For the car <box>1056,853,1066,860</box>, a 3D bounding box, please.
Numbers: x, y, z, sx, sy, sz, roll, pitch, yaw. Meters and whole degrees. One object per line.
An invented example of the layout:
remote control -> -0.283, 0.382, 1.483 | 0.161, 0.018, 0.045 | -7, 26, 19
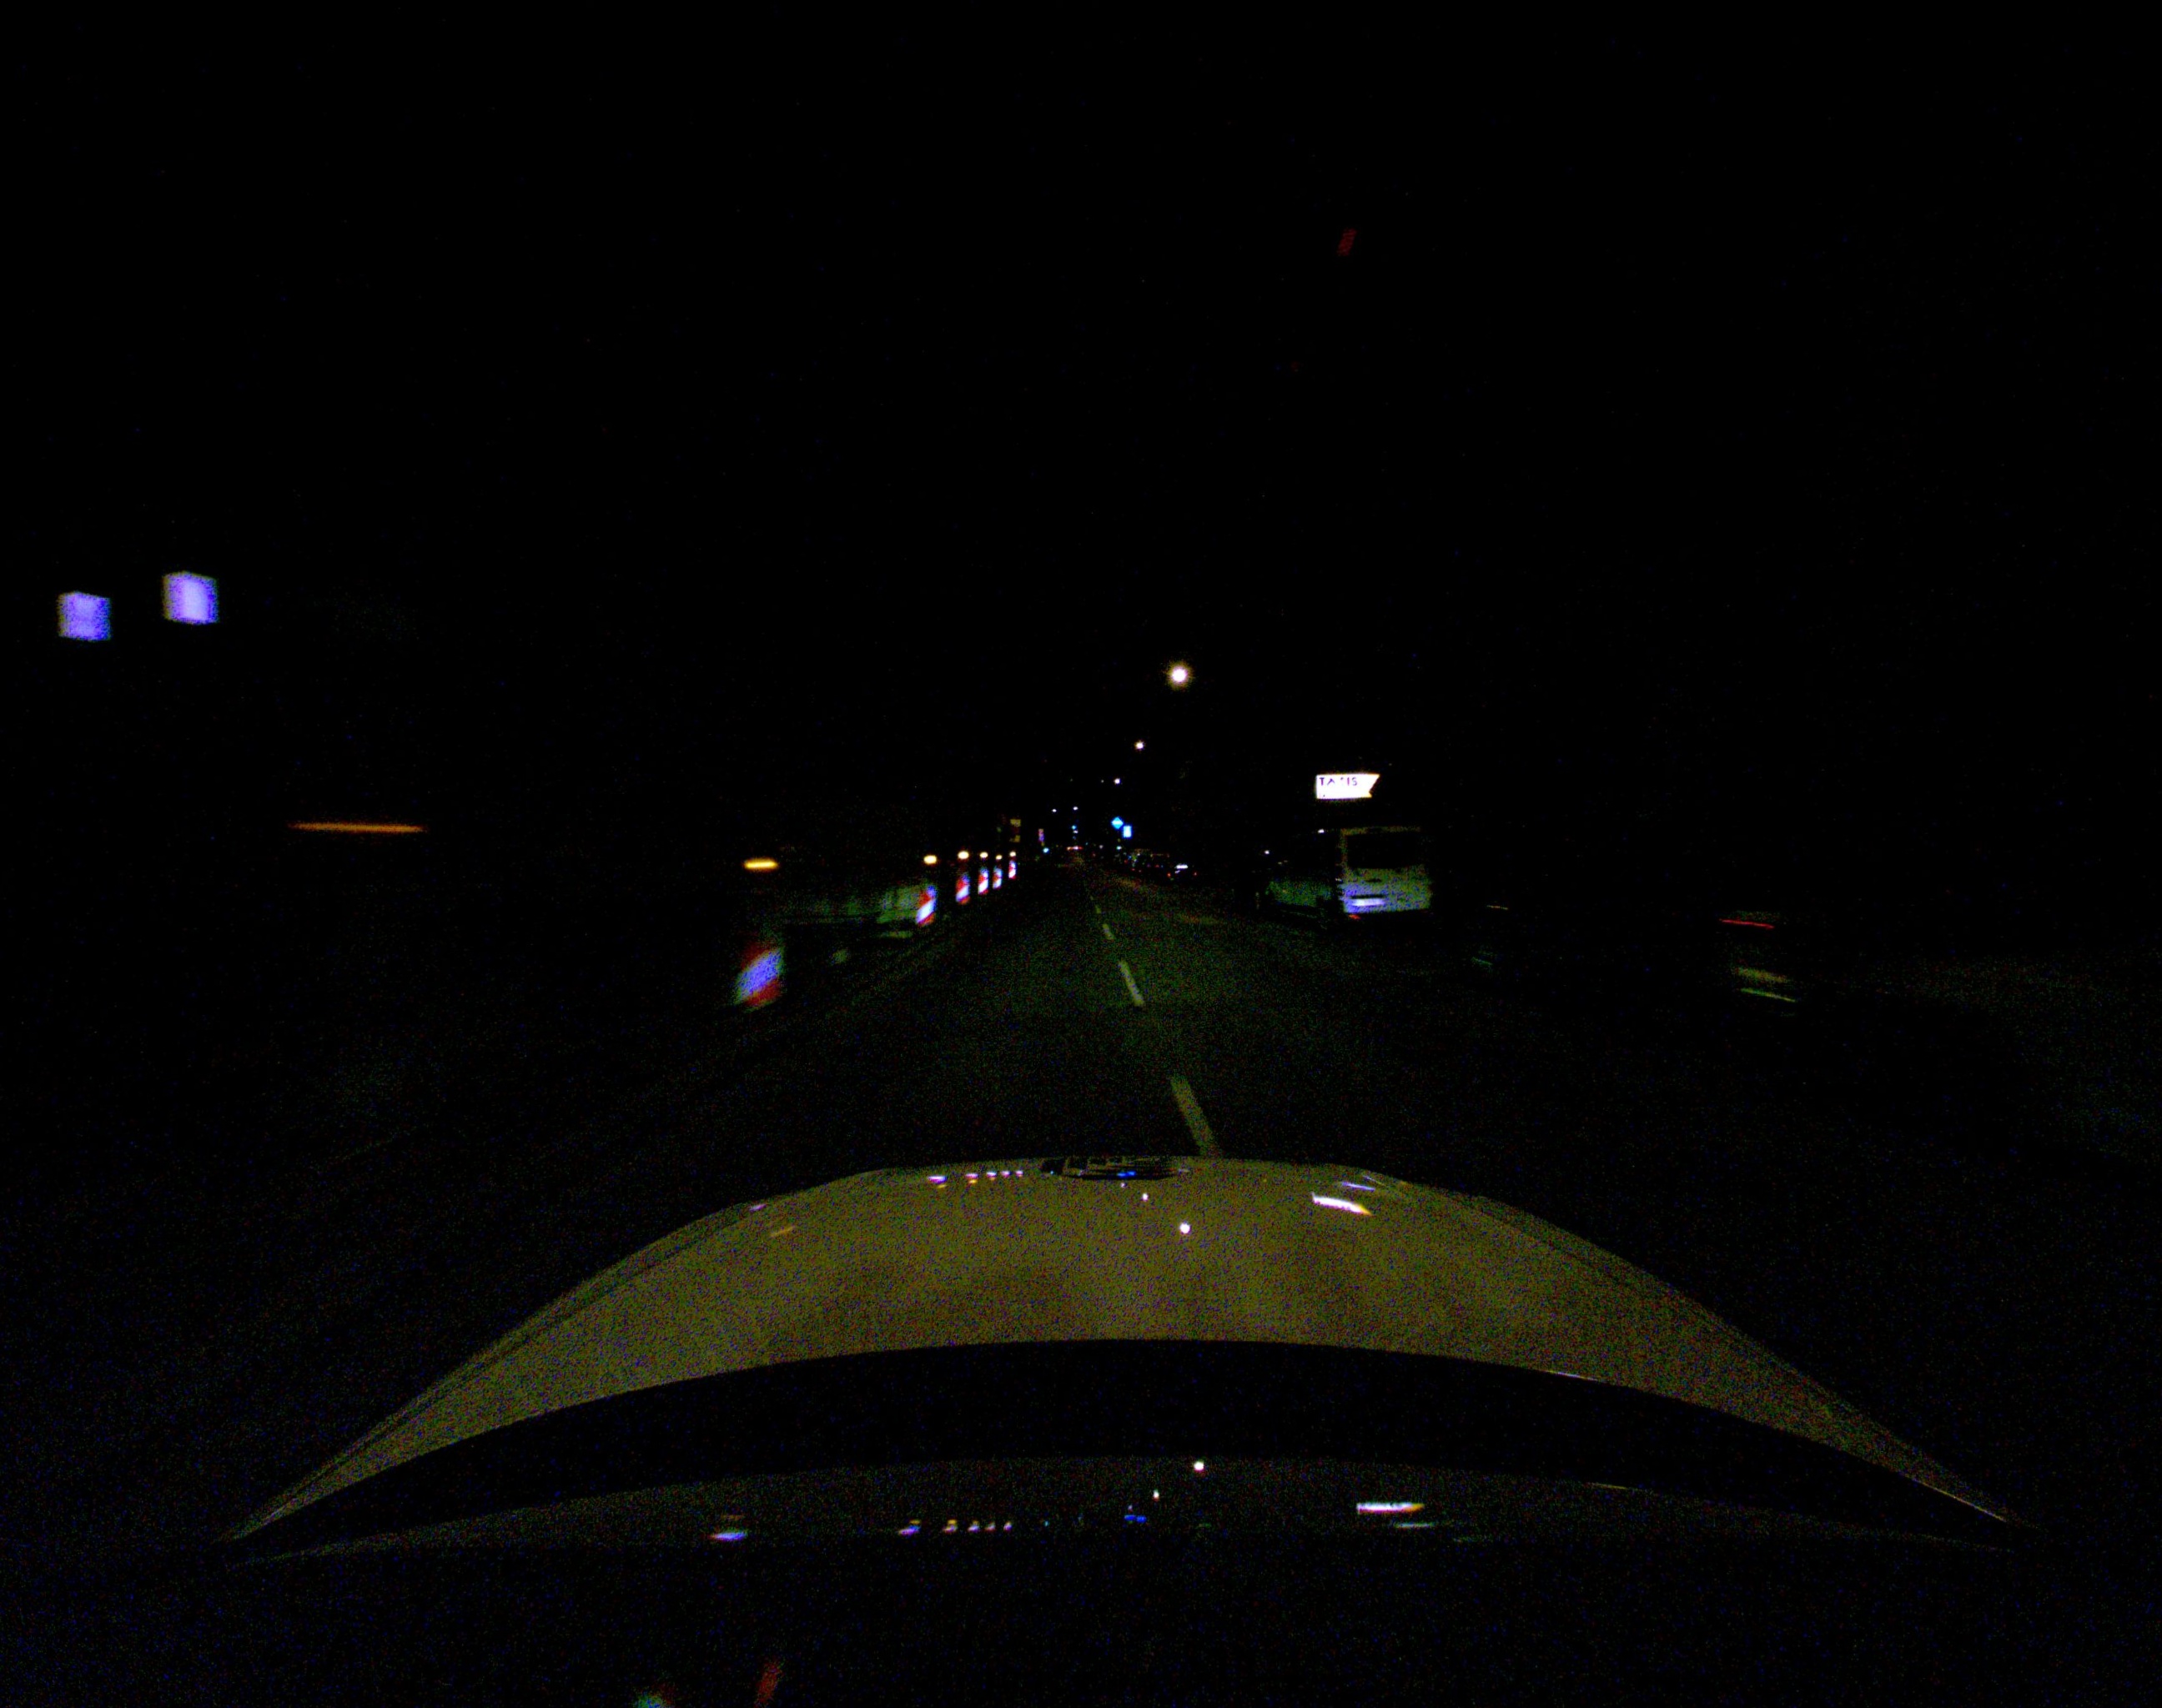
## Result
car -> -4.281, 0.538, 176.429 | 1.987, 1.502, 3.998 | -1, -1, -1

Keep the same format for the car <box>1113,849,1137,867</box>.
car -> 4.213, 0.393, 78.718 | 1.819, 1.623, 4.453 | -2, 0, -3

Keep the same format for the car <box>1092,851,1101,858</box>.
car -> 3.536, 0.224, 182.243 | 1.987, 1.520, 4.000 | -1, -1, 1

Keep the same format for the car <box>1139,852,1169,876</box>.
car -> 4.734, 0.629, 53.169 | 1.590, 1.467, 3.718 | -1, -1, 0

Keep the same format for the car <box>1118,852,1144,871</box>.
car -> 4.147, 0.609, 68.311 | 1.811, 1.427, 4.186 | -2, 0, -1

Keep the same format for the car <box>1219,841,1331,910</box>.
car -> 5.169, 0.554, 22.315 | 1.815, 1.599, 4.215 | -3, 0, -3

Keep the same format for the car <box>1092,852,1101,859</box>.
car -> 3.546, 0.298, 188.734 | 1.987, 1.520, 4.000 | -1, -1, 1

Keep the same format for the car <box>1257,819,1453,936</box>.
car -> 5.302, 0.423, 16.720 | 2.066, 1.928, 5.368 | -2, 0, -1

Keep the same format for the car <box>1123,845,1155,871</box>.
car -> 4.483, 0.263, 63.560 | 1.796, 1.875, 4.768 | -3, 0, -3

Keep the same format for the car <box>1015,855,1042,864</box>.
car -> -8.603, 0.932, 133.510 | 4.426, 1.449, 1.999 | -1, -1, -2

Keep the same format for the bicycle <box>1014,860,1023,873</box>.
bicycle -> -5.360, 1.076, 70.341 | 0.617, 1.052, 1.721 | -1, -1, 0

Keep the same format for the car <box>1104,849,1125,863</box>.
car -> 3.682, 0.230, 90.593 | 1.856, 1.489, 4.541 | -1, 0, -3

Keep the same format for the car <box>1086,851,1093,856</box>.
car -> 2.688, -0.273, 254.099 | 1.987, 1.520, 4.000 | -1, -1, 1

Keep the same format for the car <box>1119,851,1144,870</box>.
car -> 4.522, 0.575, 73.225 | 1.819, 1.588, 4.625 | -2, 0, -2

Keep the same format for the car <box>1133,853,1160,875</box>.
car -> 4.617, 0.706, 57.810 | 1.590, 1.467, 3.891 | -1, -1, 0

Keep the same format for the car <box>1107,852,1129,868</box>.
car -> 3.807, 0.642, 84.473 | 1.771, 1.544, 4.541 | -1, 0, -3

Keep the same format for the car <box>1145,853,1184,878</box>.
car -> 4.885, 0.662, 48.106 | 1.774, 1.426, 3.889 | -1, -1, -1

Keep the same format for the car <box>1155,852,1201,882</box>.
car -> 4.854, 0.628, 41.304 | 1.773, 1.426, 4.480 | -1, 0, 0

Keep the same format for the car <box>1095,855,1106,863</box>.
car -> 3.783, 0.875, 158.368 | 1.987, 1.516, 4.001 | 0, 0, 1

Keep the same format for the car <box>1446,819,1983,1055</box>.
car -> 5.366, 0.590, 7.778 | 1.739, 1.565, 4.208 | -2, 0, -2

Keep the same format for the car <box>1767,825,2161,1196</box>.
car -> 5.295, 0.611, 2.761 | 1.739, 1.508, 4.830 | -2, 0, -2
